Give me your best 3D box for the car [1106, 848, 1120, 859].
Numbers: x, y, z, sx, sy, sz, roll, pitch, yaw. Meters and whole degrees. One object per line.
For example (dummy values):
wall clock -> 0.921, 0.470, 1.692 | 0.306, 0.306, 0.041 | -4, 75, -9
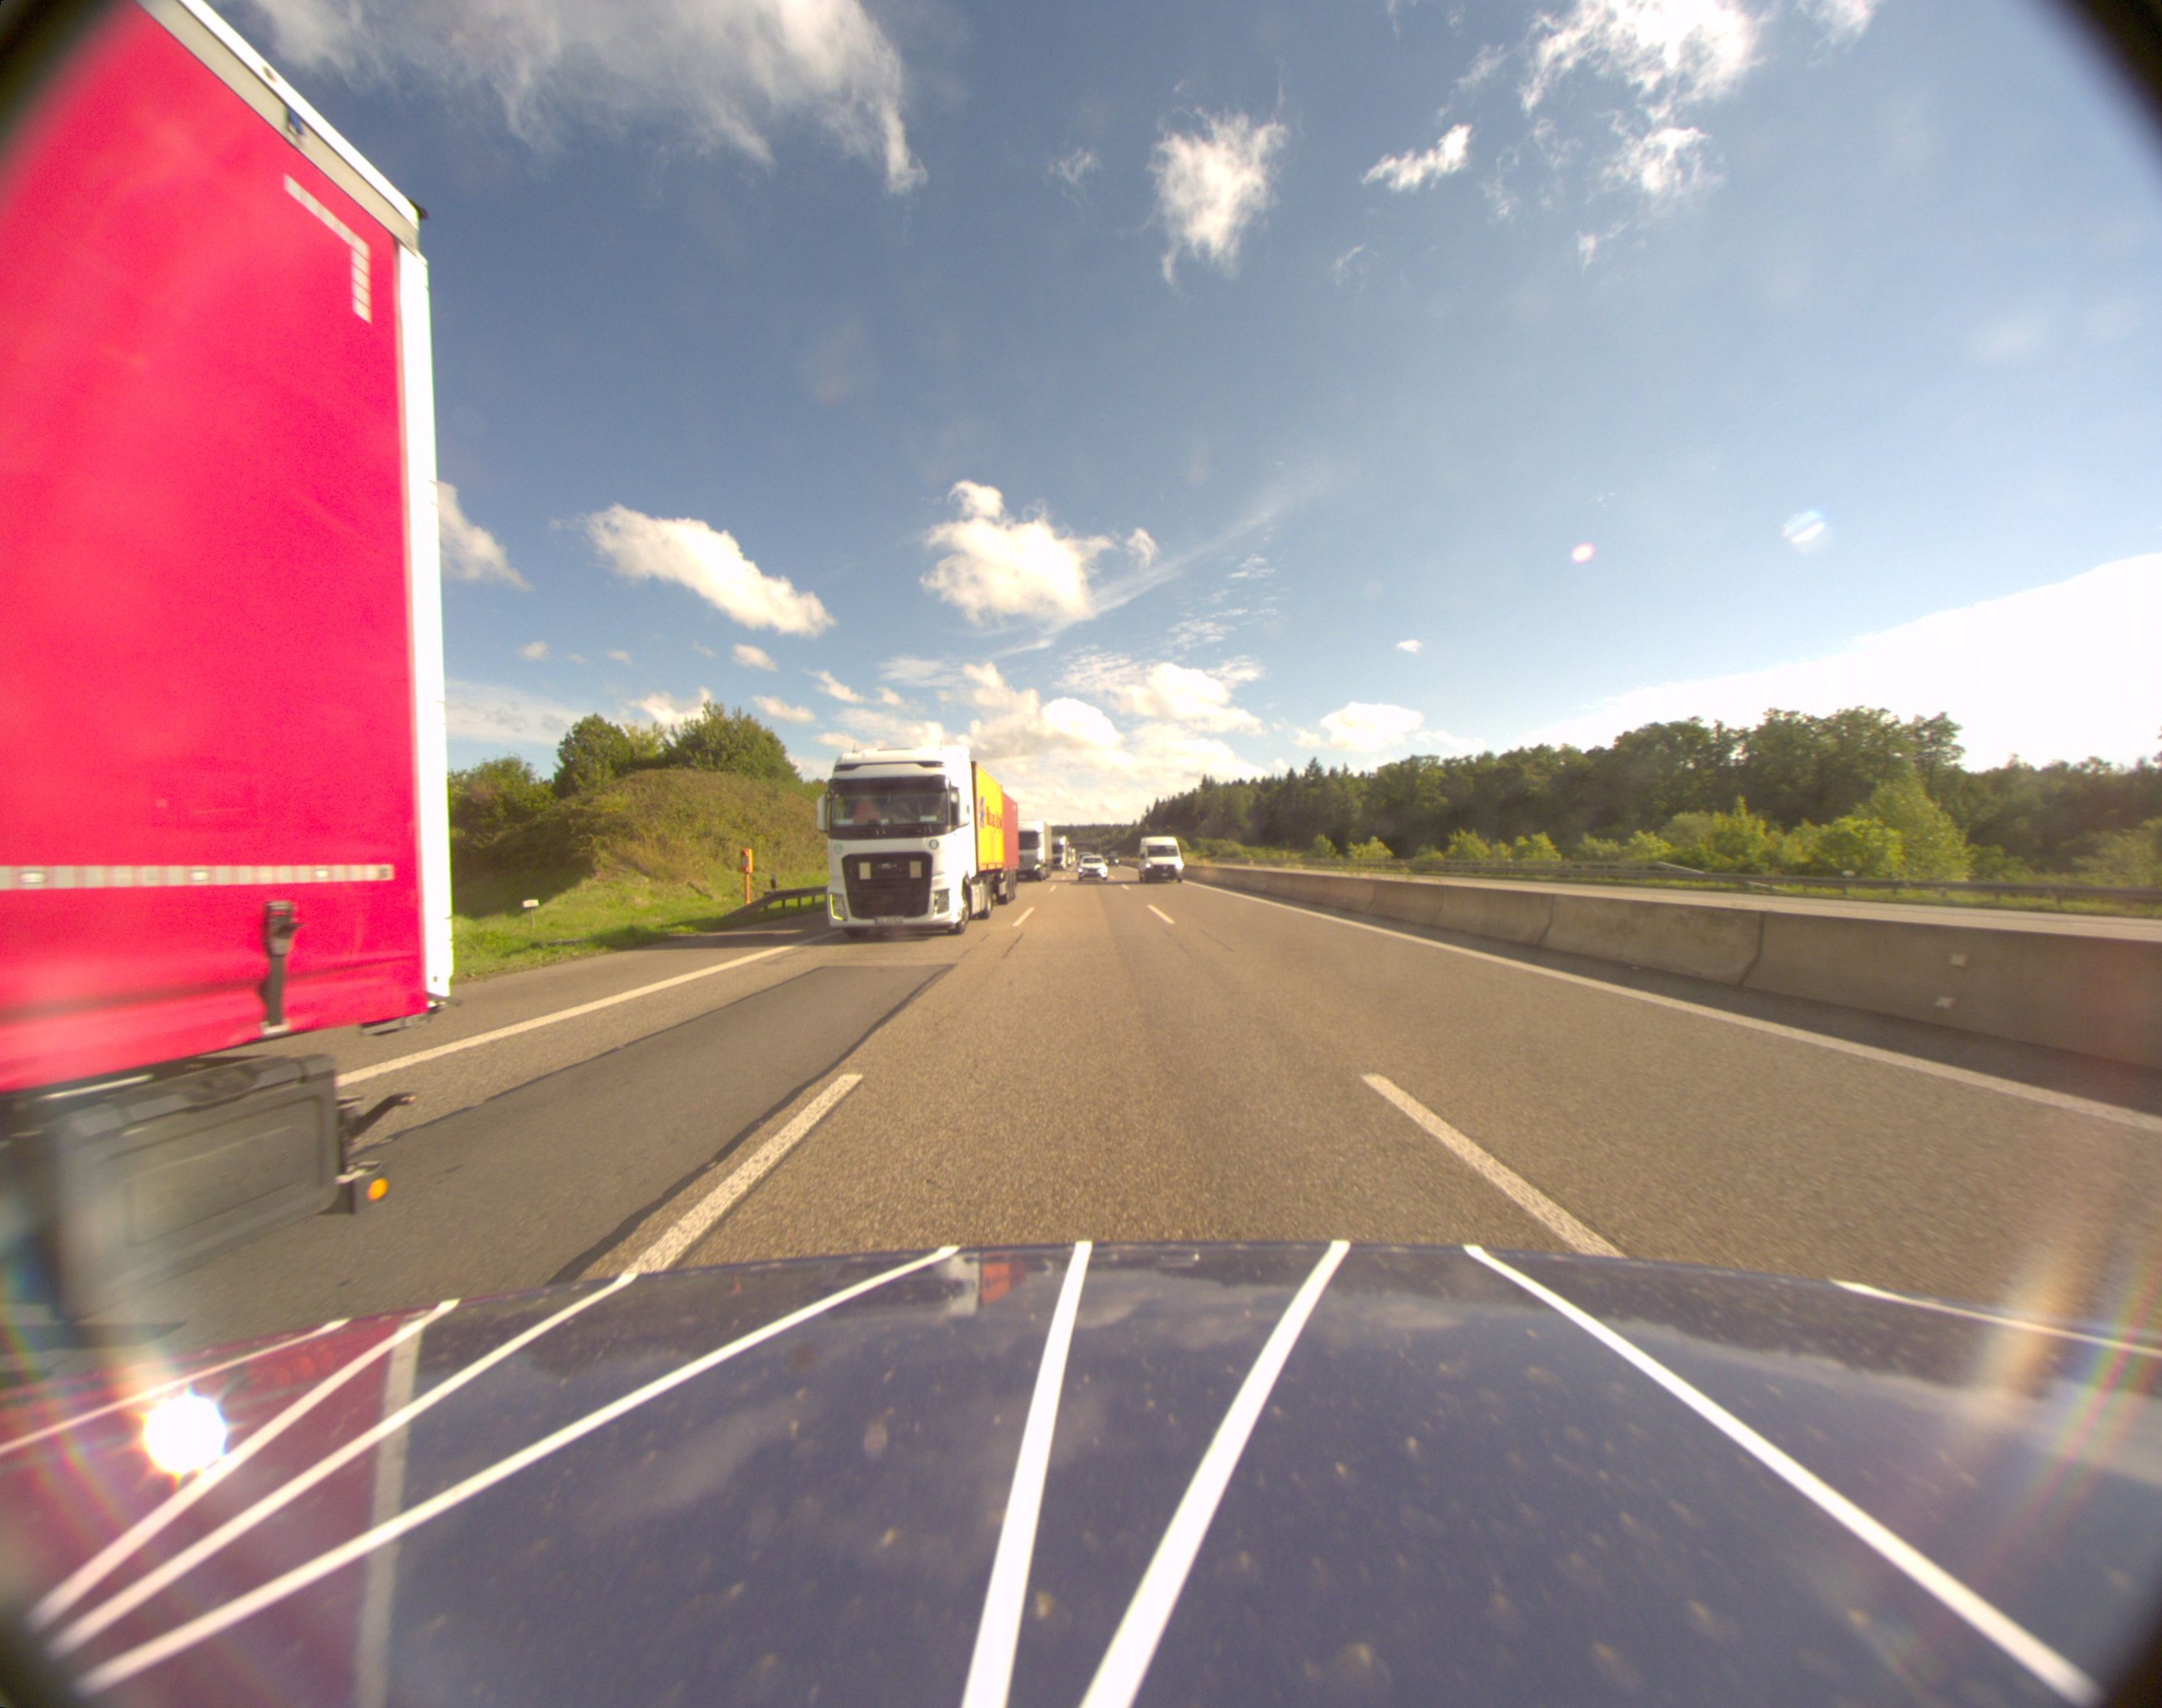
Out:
car -> 4.485, -0.093, 107.341 | 1.779, 1.533, 4.158 | 1, 1, 1

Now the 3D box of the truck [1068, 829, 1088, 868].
truck -> -0.257, -0.618, 84.394 | 1.998, 3.999, 7.344 | -2, 1, 0

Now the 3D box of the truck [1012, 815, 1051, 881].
truck -> -3.173, -0.393, 50.018 | 1.998, 4.025, 5.869 | -2, 1, 1

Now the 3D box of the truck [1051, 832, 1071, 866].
truck -> -2.389, -0.634, 93.079 | 1.998, 3.999, 7.344 | -2, 1, 0

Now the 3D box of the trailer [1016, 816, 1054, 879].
trailer -> -3.124, -0.450, 52.994 | 1.998, 3.999, 7.344 | -2, 1, 1

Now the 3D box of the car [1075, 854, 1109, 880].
car -> 0.763, 0.761, 48.191 | 2.026, 1.511, 5.299 | 1, 0, 2

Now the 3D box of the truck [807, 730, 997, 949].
truck -> -3.642, -0.268, 17.076 | 2.634, 3.959, 5.956 | -2, 0, 1

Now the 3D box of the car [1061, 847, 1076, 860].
car -> -1.983, -0.114, 123.403 | 2.129, 2.030, 4.697 | 1, 0, 2

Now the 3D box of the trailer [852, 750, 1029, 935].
trailer -> -3.551, -0.306, 23.413 | 2.624, 3.977, 13.365 | -2, 0, 1

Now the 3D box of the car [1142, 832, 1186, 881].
car -> 4.647, 0.111, 43.330 | 2.020, 2.584, 6.182 | 0, 1, 2
